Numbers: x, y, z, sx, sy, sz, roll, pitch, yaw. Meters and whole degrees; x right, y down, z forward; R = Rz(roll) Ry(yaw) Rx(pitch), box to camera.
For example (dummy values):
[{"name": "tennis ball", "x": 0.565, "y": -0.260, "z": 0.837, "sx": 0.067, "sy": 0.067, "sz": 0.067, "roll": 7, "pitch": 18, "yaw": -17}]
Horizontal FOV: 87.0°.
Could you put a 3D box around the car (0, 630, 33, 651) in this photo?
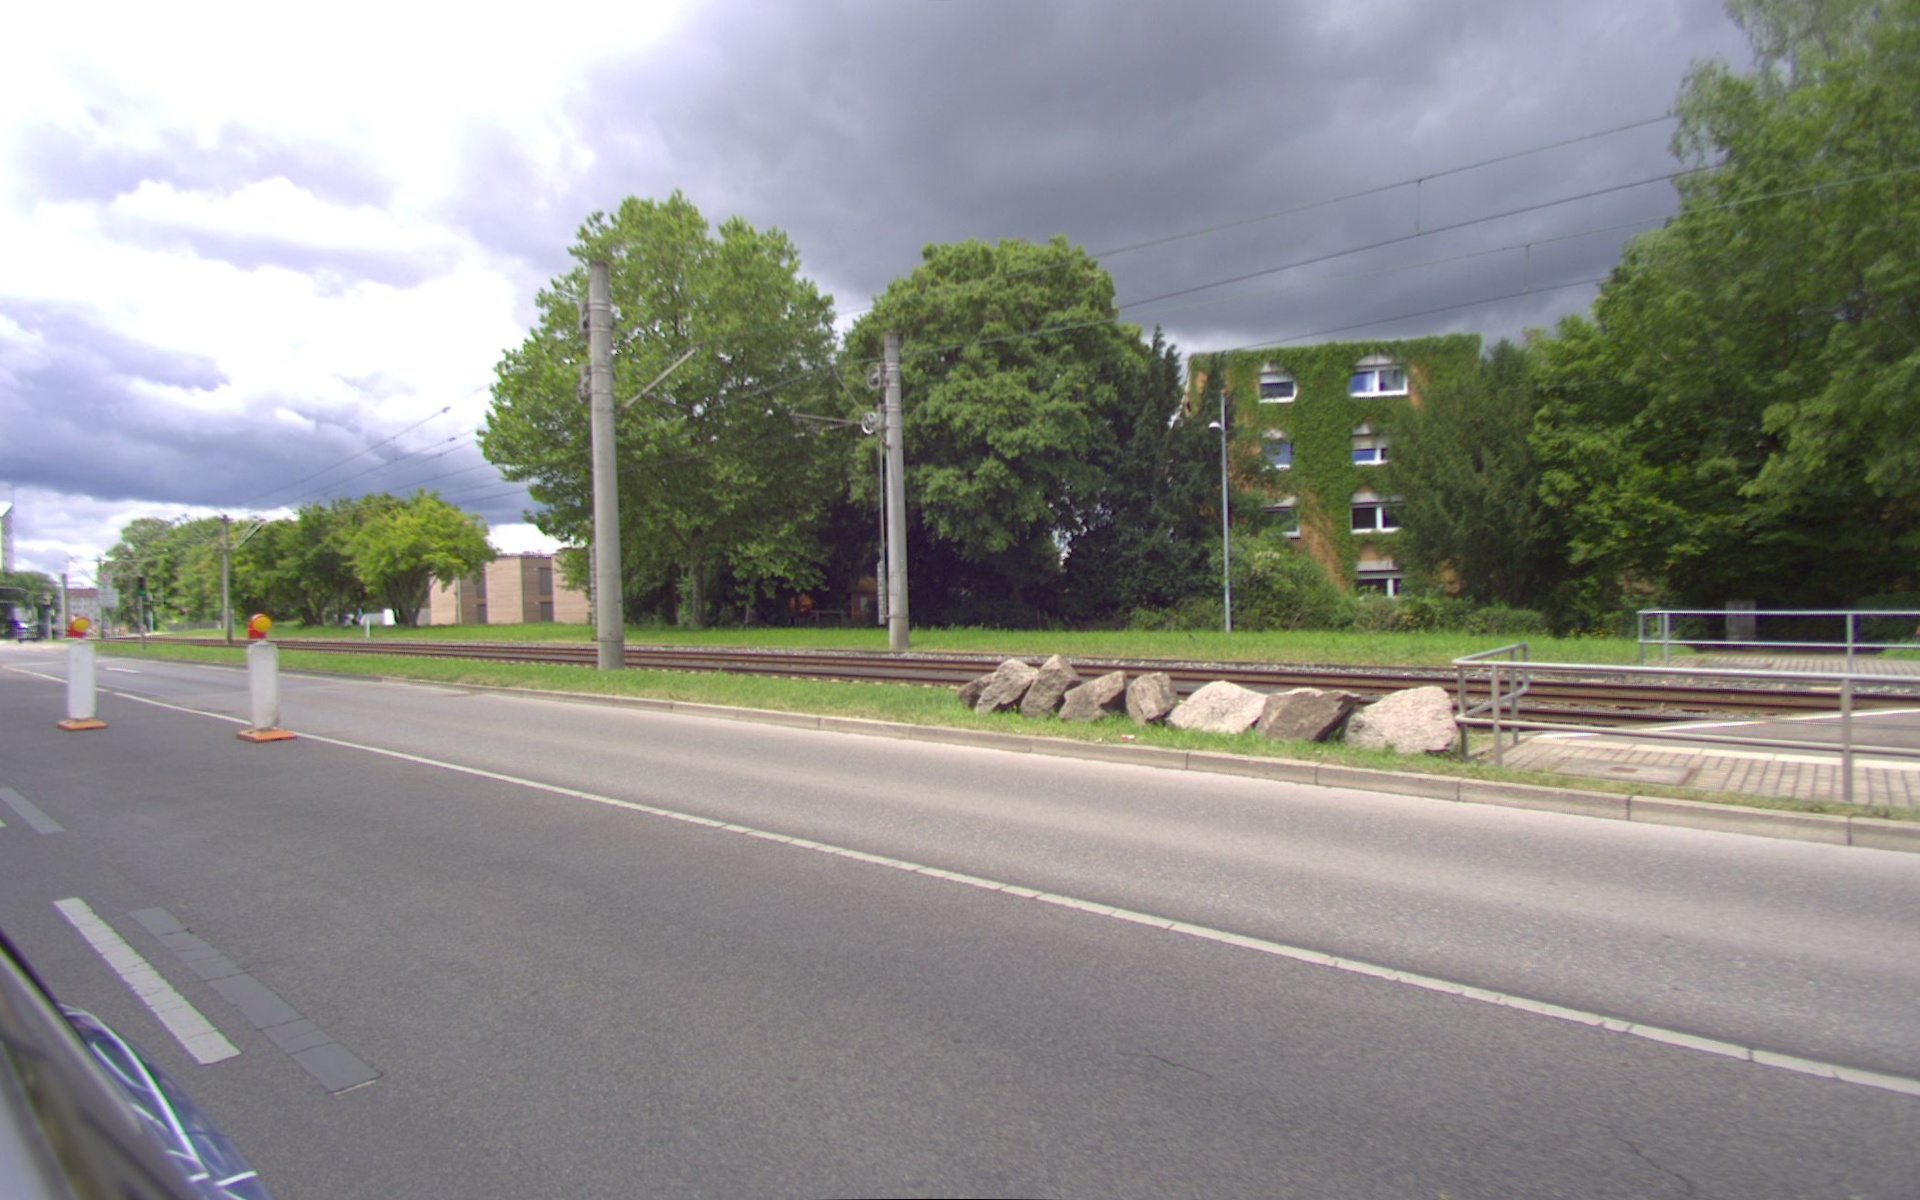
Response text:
[{"name": "car", "x": -83.551, "y": 3.558, "z": 89.592, "sx": 1.971, "sy": 1.672, "sz": 4.525, "roll": -2, "pitch": 1, "yaw": -45}]
